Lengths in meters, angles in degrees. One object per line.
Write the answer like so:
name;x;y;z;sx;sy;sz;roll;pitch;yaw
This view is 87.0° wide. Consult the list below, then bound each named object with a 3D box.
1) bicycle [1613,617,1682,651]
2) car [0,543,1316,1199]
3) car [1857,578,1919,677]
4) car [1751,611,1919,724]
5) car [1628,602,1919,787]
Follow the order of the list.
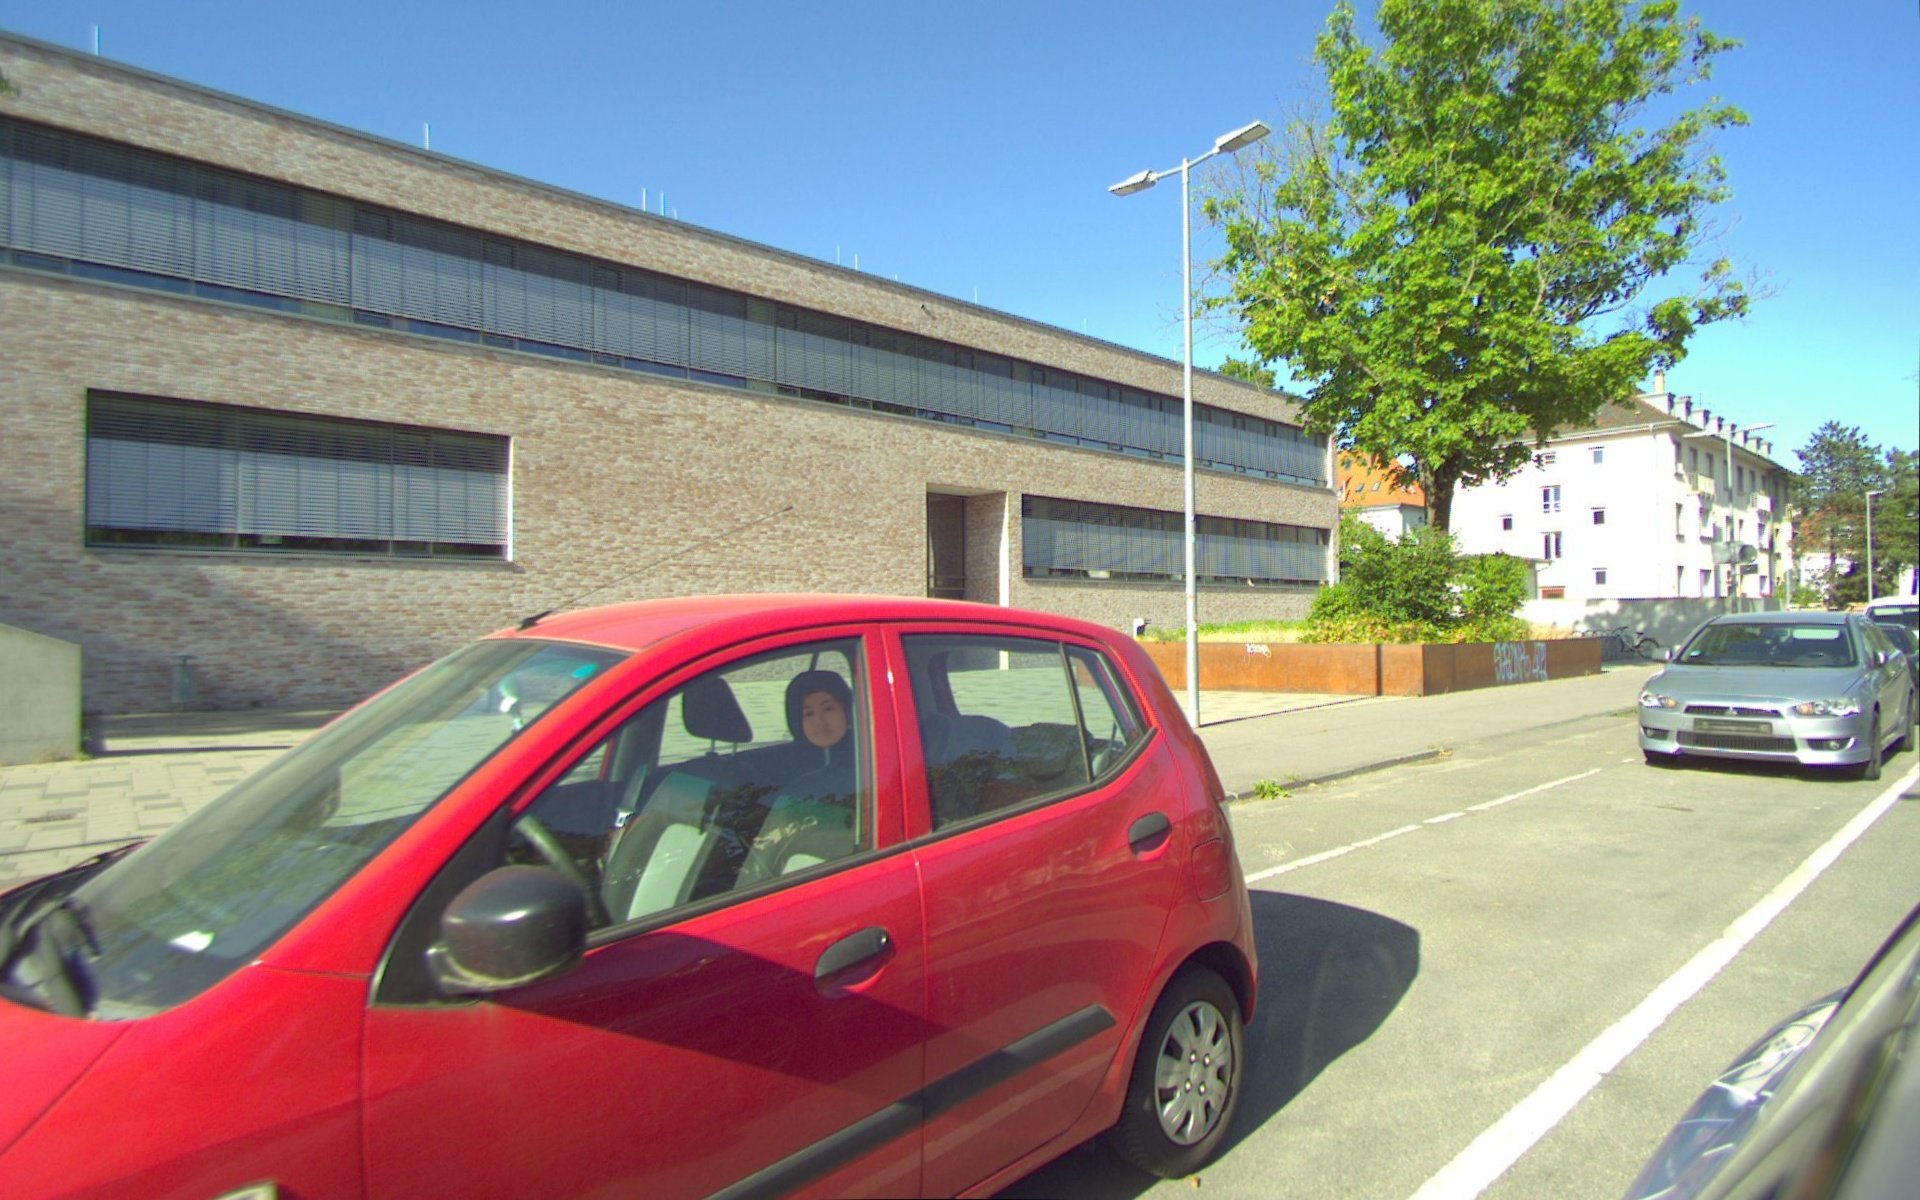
bicycle;21.671;1.082;31.928;0.491;1.043;1.670;1;-3;-42
car;-0.841;0.770;2.247;3.531;1.609;1.621;1;-2;-43
car;20.358;0.552;21.241;4.385;1.933;1.809;0;-2;-43
car;12.625;0.855;14.155;4.057;1.342;1.703;0;-2;-41
car;8.414;0.791;10.216;4.100;1.497;1.704;0;-2;-41
